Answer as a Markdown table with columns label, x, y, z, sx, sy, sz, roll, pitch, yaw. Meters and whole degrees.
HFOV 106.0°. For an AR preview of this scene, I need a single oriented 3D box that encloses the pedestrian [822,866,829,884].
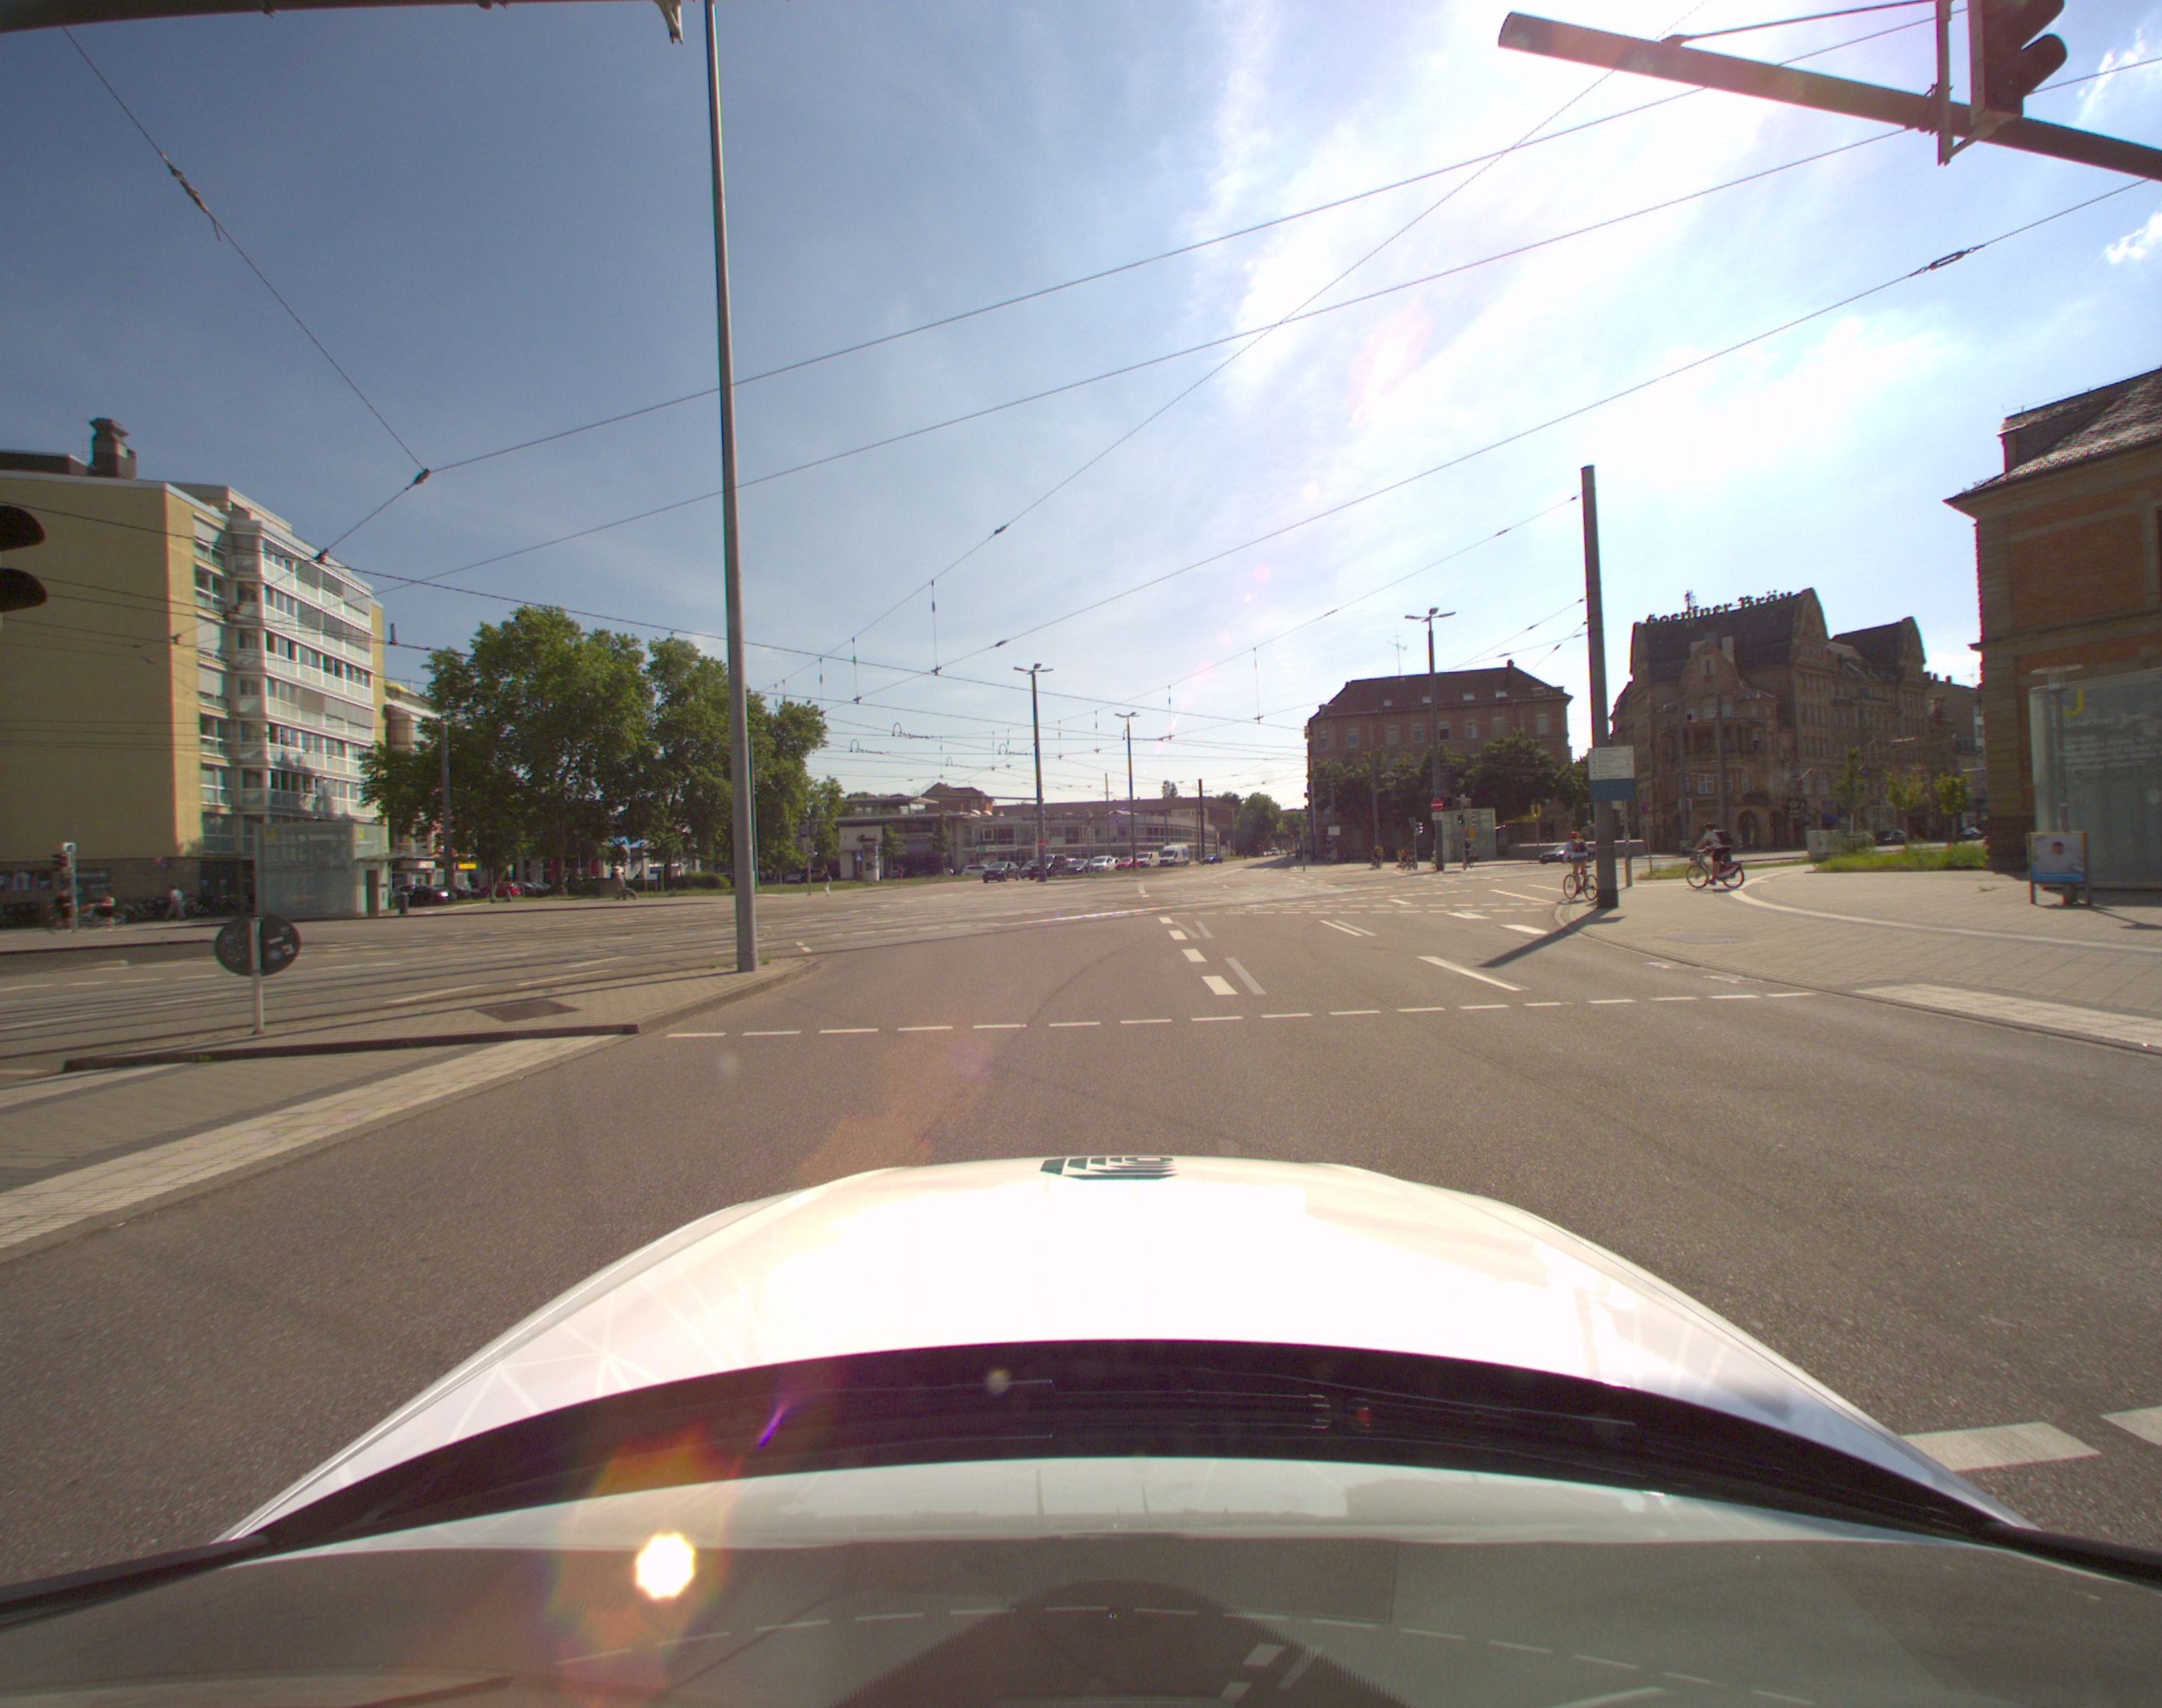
| label | x | y | z | sx | sy | sz | roll | pitch | yaw |
| --- | --- | --- | --- | --- | --- | --- | --- | --- | --- |
| pedestrian | -23.188 | 1.895 | 73.808 | 0.388 | 1.596 | 0.466 | -1 | -1 | 24 |

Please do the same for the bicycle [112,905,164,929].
| label | x | y | z | sx | sy | sz | roll | pitch | yaw |
| --- | --- | --- | --- | --- | --- | --- | --- | --- | --- |
| bicycle | -47.813 | 3.181 | 41.310 | 1.748 | 1.085 | 0.583 | -3 | 2 | -5 |

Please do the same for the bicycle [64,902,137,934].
| label | x | y | z | sx | sy | sz | roll | pitch | yaw |
| --- | --- | --- | --- | --- | --- | --- | --- | --- | --- |
| bicycle | -40.005 | 2.590 | 33.266 | 0.749 | 1.130 | 1.797 | -2 | 0 | 2 |

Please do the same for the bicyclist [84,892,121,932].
| label | x | y | z | sx | sy | sz | roll | pitch | yaw |
| --- | --- | --- | --- | --- | --- | --- | --- | --- | --- |
| bicyclist | -40.030 | 2.366 | 33.337 | 0.728 | 1.572 | 0.613 | -3 | -1 | 1 |

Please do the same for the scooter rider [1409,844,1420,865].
| label | x | y | z | sx | sy | sz | roll | pitch | yaw |
| --- | --- | --- | --- | --- | --- | --- | --- | --- | --- |
| scooter rider | 22.277 | 0.058 | 54.437 | 0.584 | 1.397 | 0.407 | 0 | -1 | 0 |

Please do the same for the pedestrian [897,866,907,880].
| label | x | y | z | sx | sy | sz | roll | pitch | yaw |
| --- | --- | --- | --- | --- | --- | --- | --- | --- | --- |
| pedestrian | -19.815 | 2.122 | 90.177 | 0.951 | 1.580 | 0.534 | 0 | -1 | -3 |

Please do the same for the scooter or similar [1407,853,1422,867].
| label | x | y | z | sx | sy | sz | roll | pitch | yaw |
| --- | --- | --- | --- | --- | --- | --- | --- | --- | --- |
| scooter or similar | 22.280 | 0.404 | 54.388 | 0.584 | 0.976 | 0.992 | 0 | -1 | 1 |

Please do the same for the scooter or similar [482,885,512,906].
| label | x | y | z | sx | sy | sz | roll | pitch | yaw |
| --- | --- | --- | --- | --- | --- | --- | --- | --- | --- |
| scooter or similar | -33.020 | 2.344 | 46.038 | 1.351 | 1.119 | 0.519 | -2 | 0 | 10 |

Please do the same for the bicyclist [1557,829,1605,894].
| label | x | y | z | sx | sy | sz | roll | pitch | yaw |
| --- | --- | --- | --- | --- | --- | --- | --- | --- | --- |
| bicyclist | 13.617 | 0.200 | 22.193 | 0.710 | 1.669 | 0.877 | -5 | -1 | 9 |

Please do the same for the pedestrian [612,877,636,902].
| label | x | y | z | sx | sy | sz | roll | pitch | yaw |
| --- | --- | --- | --- | --- | --- | --- | --- | --- | --- |
| pedestrian | -26.108 | 2.024 | 46.513 | 1.118 | 1.404 | 0.652 | 0 | -1 | -21 |

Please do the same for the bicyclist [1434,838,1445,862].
| label | x | y | z | sx | sy | sz | roll | pitch | yaw |
| --- | --- | --- | --- | --- | --- | --- | --- | --- | --- |
| bicyclist | 24.975 | -0.268 | 56.713 | 0.497 | 1.621 | 0.651 | 0 | 0 | 6 |

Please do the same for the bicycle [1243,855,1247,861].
| label | x | y | z | sx | sy | sz | roll | pitch | yaw |
| --- | --- | --- | --- | --- | --- | --- | --- | --- | --- |
| bicycle | 34.160 | 0.812 | 169.609 | 0.746 | 1.194 | 2.850 | -1 | -1 | 15 |

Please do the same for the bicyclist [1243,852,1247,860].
| label | x | y | z | sx | sy | sz | roll | pitch | yaw |
| --- | --- | --- | --- | --- | --- | --- | --- | --- | --- |
| bicyclist | 34.160 | 0.410 | 169.638 | 0.746 | 1.568 | 1.091 | -1 | -1 | 15 |

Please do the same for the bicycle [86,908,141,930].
| label | x | y | z | sx | sy | sz | roll | pitch | yaw |
| --- | --- | --- | --- | --- | --- | --- | --- | --- | --- |
| bicycle | -49.274 | 3.288 | 41.489 | 1.752 | 0.965 | 0.582 | -3 | 0 | -12 |

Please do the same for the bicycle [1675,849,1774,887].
| label | x | y | z | sx | sy | sz | roll | pitch | yaw |
| --- | --- | --- | --- | --- | --- | --- | --- | --- | --- |
| bicycle | 17.717 | 0.393 | 22.471 | 0.719 | 1.015 | 1.999 | 1 | -1 | -34 |

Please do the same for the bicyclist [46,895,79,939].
| label | x | y | z | sx | sy | sz | roll | pitch | yaw |
| --- | --- | --- | --- | --- | --- | --- | --- | --- | --- |
| bicyclist | -41.508 | 2.568 | 33.184 | 0.584 | 1.735 | 0.613 | -3 | -1 | -23 |

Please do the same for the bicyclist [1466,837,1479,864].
| label | x | y | z | sx | sy | sz | roll | pitch | yaw |
| --- | --- | --- | --- | --- | --- | --- | --- | --- | --- |
| bicyclist | 24.203 | -0.228 | 50.385 | 0.661 | 1.624 | 0.787 | -1 | 0 | 23 |

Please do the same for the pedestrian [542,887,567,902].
| label | x | y | z | sx | sy | sz | roll | pitch | yaw |
| --- | --- | --- | --- | --- | --- | --- | --- | --- | --- |
| pedestrian | -34.197 | 2.624 | 52.903 | 1.176 | 0.892 | 0.817 | -2 | 0 | -19 |

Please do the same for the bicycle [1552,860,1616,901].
| label | x | y | z | sx | sy | sz | roll | pitch | yaw |
| --- | --- | --- | --- | --- | --- | --- | --- | --- | --- |
| bicycle | 13.664 | 0.703 | 22.193 | 0.710 | 1.015 | 2.026 | -5 | -1 | 9 |

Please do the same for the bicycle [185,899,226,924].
| label | x | y | z | sx | sy | sz | roll | pitch | yaw |
| --- | --- | --- | --- | --- | --- | --- | --- | --- | --- |
| bicycle | -47.182 | 3.079 | 43.893 | 0.540 | 1.186 | 1.881 | -2 | 0 | -14 |

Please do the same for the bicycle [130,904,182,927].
| label | x | y | z | sx | sy | sz | roll | pitch | yaw |
| --- | --- | --- | --- | --- | --- | --- | --- | --- | --- |
| bicycle | -47.676 | 3.180 | 41.975 | 1.751 | 1.043 | 0.582 | -3 | 0 | -10 |

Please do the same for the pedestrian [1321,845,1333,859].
| label | x | y | z | sx | sy | sz | roll | pitch | yaw |
| --- | --- | --- | --- | --- | --- | --- | --- | --- | --- |
| pedestrian | 26.126 | -0.255 | 86.432 | 0.715 | 1.433 | 0.878 | -2 | -1 | -32 |

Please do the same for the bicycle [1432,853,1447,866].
| label | x | y | z | sx | sy | sz | roll | pitch | yaw |
| --- | --- | --- | --- | --- | --- | --- | --- | --- | --- |
| bicycle | 24.973 | 0.400 | 56.764 | 0.497 | 0.866 | 1.590 | 0 | 0 | 6 |

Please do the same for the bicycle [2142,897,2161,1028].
| label | x | y | z | sx | sy | sz | roll | pitch | yaw |
| --- | --- | --- | --- | --- | --- | --- | --- | --- | --- |
| bicycle | 9.036 | 0.790 | 5.621 | 1.894 | 1.015 | 0.721 | -5 | -2 | 34 |

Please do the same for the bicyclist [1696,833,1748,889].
| label | x | y | z | sx | sy | sz | roll | pitch | yaw |
| --- | --- | --- | --- | --- | --- | --- | --- | --- | --- |
| bicyclist | 17.700 | 0.199 | 22.507 | 0.719 | 1.488 | 0.940 | 1 | -2 | -35 |

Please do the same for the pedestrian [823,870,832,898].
| label | x | y | z | sx | sy | sz | roll | pitch | yaw |
| --- | --- | --- | --- | --- | --- | --- | --- | --- | --- |
| pedestrian | -15.010 | 1.774 | 48.220 | 0.456 | 1.605 | 0.396 | 1 | -2 | -35 |

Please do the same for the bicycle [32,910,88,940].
| label | x | y | z | sx | sy | sz | roll | pitch | yaw |
| --- | --- | --- | --- | --- | --- | --- | --- | --- | --- |
| bicycle | -41.656 | 2.879 | 33.248 | 0.584 | 1.130 | 1.783 | -3 | -1 | -22 |

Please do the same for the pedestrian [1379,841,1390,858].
| label | x | y | z | sx | sy | sz | roll | pitch | yaw |
| --- | --- | --- | --- | --- | --- | --- | --- | --- | --- |
| pedestrian | 26.412 | -0.397 | 70.864 | 0.616 | 1.433 | 0.705 | 1 | -2 | -37 |

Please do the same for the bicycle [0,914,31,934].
| label | x | y | z | sx | sy | sz | roll | pitch | yaw |
| --- | --- | --- | --- | --- | --- | --- | --- | --- | --- |
| bicycle | -52.900 | 3.473 | 39.944 | 1.750 | 0.916 | 0.582 | -3 | 0 | -9 |

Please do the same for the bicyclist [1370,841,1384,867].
| label | x | y | z | sx | sy | sz | roll | pitch | yaw |
| --- | --- | --- | --- | --- | --- | --- | --- | --- | --- |
| bicyclist | 21.198 | 0.015 | 58.341 | 0.919 | 1.820 | 1.057 | -1 | -1 | 17 |

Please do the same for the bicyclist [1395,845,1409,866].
| label | x | y | z | sx | sy | sz | roll | pitch | yaw |
| --- | --- | --- | --- | --- | --- | --- | --- | --- | --- |
| bicyclist | 22.943 | 0.104 | 58.243 | 0.919 | 1.452 | 1.258 | -1 | 0 | 20 |
